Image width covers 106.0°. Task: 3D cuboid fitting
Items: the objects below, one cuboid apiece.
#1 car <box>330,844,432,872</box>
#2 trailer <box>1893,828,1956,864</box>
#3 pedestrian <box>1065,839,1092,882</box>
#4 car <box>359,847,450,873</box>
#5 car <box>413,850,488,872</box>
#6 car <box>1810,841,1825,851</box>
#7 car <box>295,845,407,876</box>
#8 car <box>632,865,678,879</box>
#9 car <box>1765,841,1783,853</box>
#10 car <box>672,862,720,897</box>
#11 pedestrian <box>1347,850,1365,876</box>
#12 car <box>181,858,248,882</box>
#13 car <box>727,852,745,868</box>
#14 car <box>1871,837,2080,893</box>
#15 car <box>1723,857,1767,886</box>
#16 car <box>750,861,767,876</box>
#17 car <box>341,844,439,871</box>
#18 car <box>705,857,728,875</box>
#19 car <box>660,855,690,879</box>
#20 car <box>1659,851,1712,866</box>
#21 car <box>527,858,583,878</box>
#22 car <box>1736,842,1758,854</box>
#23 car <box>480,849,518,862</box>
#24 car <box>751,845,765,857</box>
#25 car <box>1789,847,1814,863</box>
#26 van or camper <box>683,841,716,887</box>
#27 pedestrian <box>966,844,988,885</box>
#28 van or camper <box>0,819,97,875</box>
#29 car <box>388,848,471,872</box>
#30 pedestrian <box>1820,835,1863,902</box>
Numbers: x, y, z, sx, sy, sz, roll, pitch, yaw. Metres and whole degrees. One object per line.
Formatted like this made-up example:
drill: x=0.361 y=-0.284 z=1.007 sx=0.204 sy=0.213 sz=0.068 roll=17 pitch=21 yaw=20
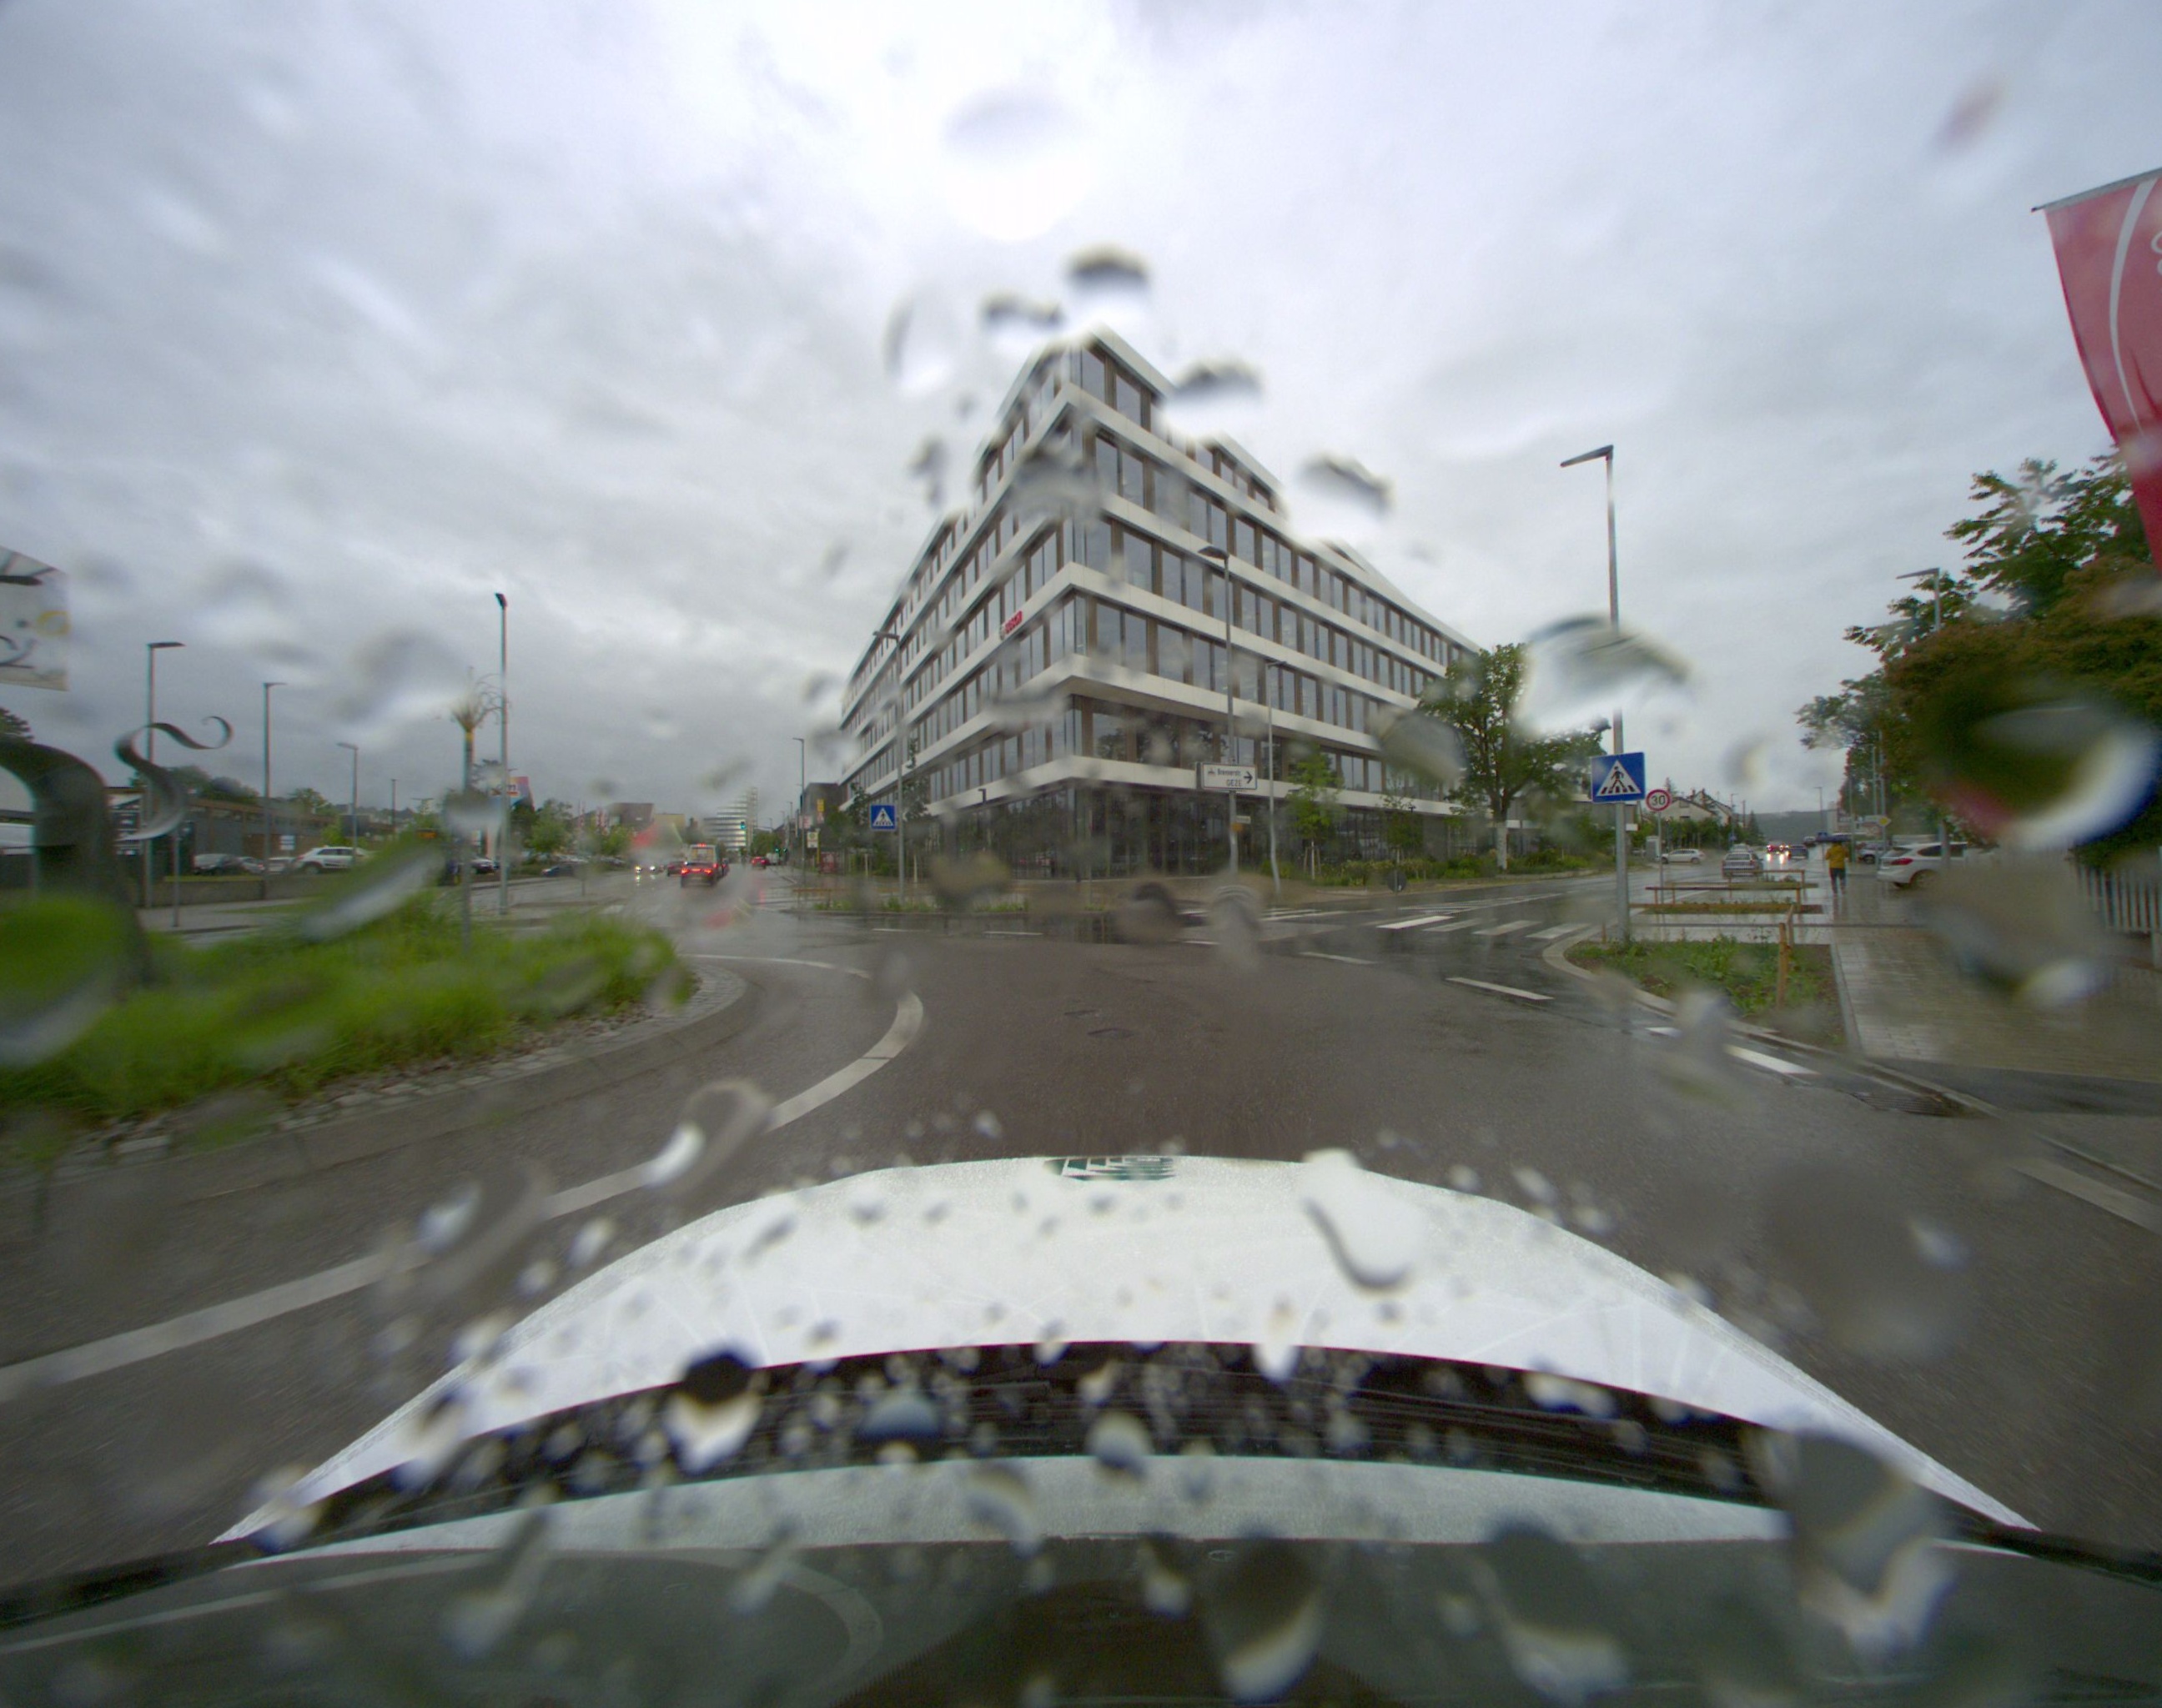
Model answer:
car: x=-39.329 y=0.210 z=45.878 sx=4.007 sy=1.552 sz=1.779 roll=0 pitch=0 yaw=-26
trailer: x=52.838 y=-0.463 z=51.049 sx=1.557 sy=2.171 sz=2.677 roll=0 pitch=-1 yaw=-44
pedestrian: x=-0.109 y=0.312 z=39.387 sx=0.882 sy=2.013 sz=0.937 roll=0 pitch=0 yaw=39
car: x=-41.570 y=0.332 z=50.146 sx=4.007 sy=1.552 sz=1.779 roll=0 pitch=0 yaw=-26
car: x=-45.858 y=0.517 z=59.365 sx=4.007 sy=1.552 sz=1.779 roll=0 pitch=0 yaw=-26
car: x=139.707 y=-1.467 z=154.501 sx=1.975 sy=1.705 sz=4.024 roll=4 pitch=1 yaw=43
car: x=-38.288 y=0.321 z=42.829 sx=4.007 sy=1.552 sz=1.836 roll=0 pitch=0 yaw=-26
car: x=-44.334 y=1.861 z=84.867 sx=1.979 sy=1.398 sz=4.015 roll=0 pitch=0 yaw=14
car: x=107.849 y=-1.084 z=126.755 sx=1.984 sy=1.818 sz=5.009 roll=-1 pitch=-1 yaw=42
car: x=-22.064 y=1.445 z=46.814 sx=1.999 sy=1.727 sz=3.976 roll=1 pitch=2 yaw=-19
pedestrian: x=18.739 y=0.629 z=55.525 sx=0.961 sy=1.703 sz=0.718 roll=2 pitch=1 yaw=-43
car: x=-50.632 y=0.926 z=47.657 sx=1.595 sy=1.353 sz=3.490 roll=0 pitch=0 yaw=-27
car: x=-47.957 y=0.825 z=113.252 sx=2.000 sy=2.013 sz=3.974 roll=-1 pitch=2 yaw=-20
car: x=28.842 y=0.376 z=26.487 sx=4.089 sy=1.580 sz=2.012 roll=-3 pitch=-2 yaw=29
car: x=40.400 y=1.060 z=49.503 sx=1.930 sy=1.555 sz=4.024 roll=4 pitch=1 yaw=41
car: x=-46.122 y=2.061 z=116.532 sx=2.001 sy=1.859 sz=3.973 roll=3 pitch=1 yaw=-21
car: x=-40.304 y=0.199 z=47.602 sx=4.007 sy=1.552 sz=1.779 roll=0 pitch=0 yaw=-26
car: x=-35.402 y=1.117 z=79.138 sx=2.002 sy=1.618 sz=3.969 roll=0 pitch=0 yaw=-23
car: x=-37.122 y=1.171 z=74.603 sx=2.001 sy=1.859 sz=3.973 roll=3 pitch=1 yaw=-21
car: x=58.288 y=0.425 z=78.577 sx=3.891 sy=1.423 sz=1.909 roll=-1 pitch=-1 yaw=44
car: x=-48.981 y=1.283 z=75.870 sx=1.975 sy=1.727 sz=4.024 roll=4 pitch=1 yaw=42
car: x=90.401 y=-0.806 z=110.578 sx=1.975 sy=1.629 sz=4.178 roll=-2 pitch=0 yaw=43
car: x=-83.095 y=0.250 z=116.375 sx=4.005 sy=1.650 sz=1.985 roll=2 pitch=1 yaw=-24
car: x=-55.562 y=-0.592 z=140.041 sx=2.001 sy=1.859 sz=3.973 roll=3 pitch=1 yaw=-21
car: x=88.962 y=0.122 z=100.571 sx=2.134 sy=1.705 sz=4.024 roll=4 pitch=1 yaw=43
van or camper: x=-26.933 y=0.621 z=57.589 sx=2.003 sy=3.087 sz=5.060 roll=0 pitch=1 yaw=-25
pedestrian: x=-5.606 y=0.561 z=43.767 sx=1.006 sy=2.145 sz=0.925 roll=0 pitch=0 yaw=-20
van or camper: x=-36.253 y=-0.286 z=27.534 sx=1.889 sy=1.761 sz=4.351 roll=0 pitch=2 yaw=-22
car: x=-43.740 y=0.414 z=54.788 sx=4.007 sy=1.552 sz=1.779 roll=0 pitch=0 yaw=-26
pedestrian: x=23.804 y=0.449 z=25.510 sx=0.850 sy=2.014 sz=1.202 roll=-4 pitch=-3 yaw=42
